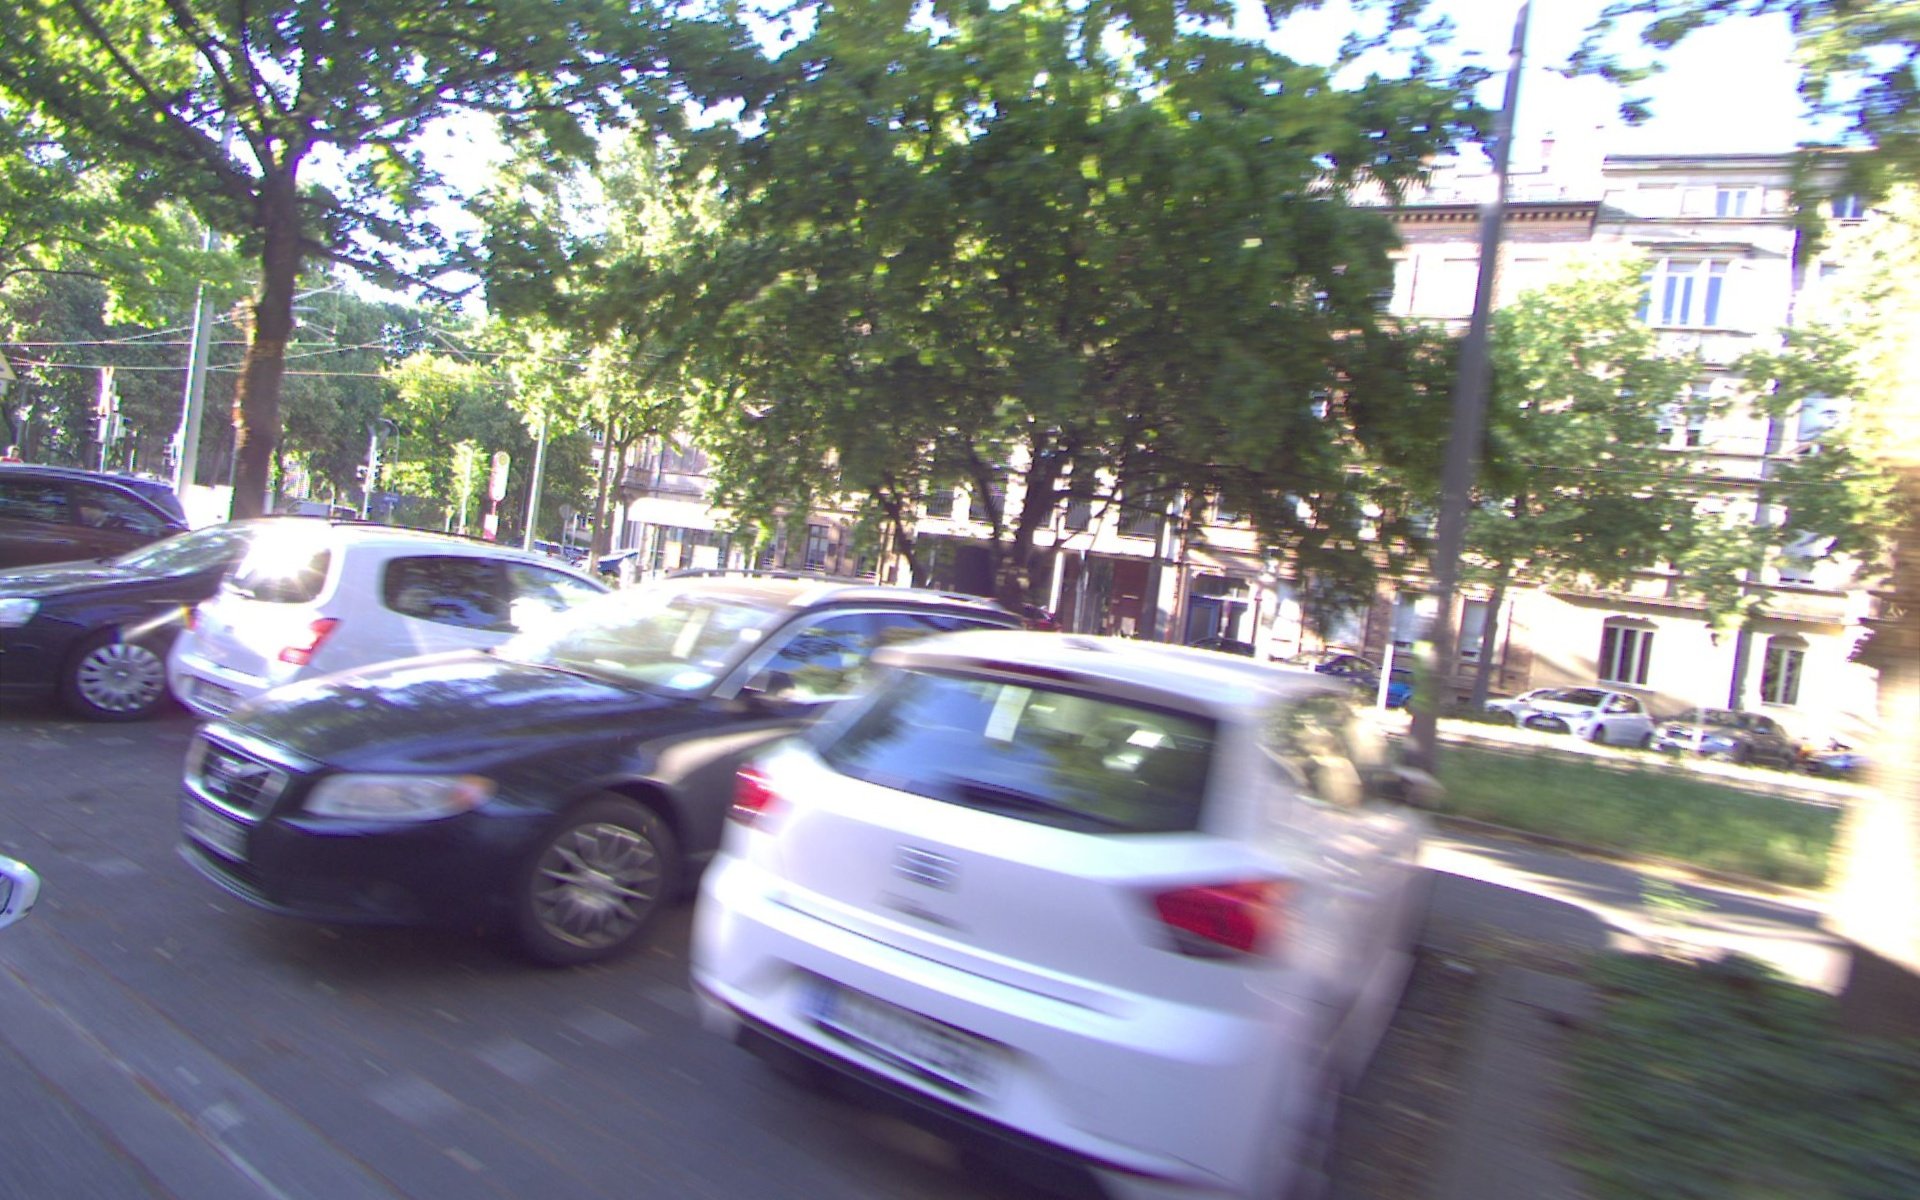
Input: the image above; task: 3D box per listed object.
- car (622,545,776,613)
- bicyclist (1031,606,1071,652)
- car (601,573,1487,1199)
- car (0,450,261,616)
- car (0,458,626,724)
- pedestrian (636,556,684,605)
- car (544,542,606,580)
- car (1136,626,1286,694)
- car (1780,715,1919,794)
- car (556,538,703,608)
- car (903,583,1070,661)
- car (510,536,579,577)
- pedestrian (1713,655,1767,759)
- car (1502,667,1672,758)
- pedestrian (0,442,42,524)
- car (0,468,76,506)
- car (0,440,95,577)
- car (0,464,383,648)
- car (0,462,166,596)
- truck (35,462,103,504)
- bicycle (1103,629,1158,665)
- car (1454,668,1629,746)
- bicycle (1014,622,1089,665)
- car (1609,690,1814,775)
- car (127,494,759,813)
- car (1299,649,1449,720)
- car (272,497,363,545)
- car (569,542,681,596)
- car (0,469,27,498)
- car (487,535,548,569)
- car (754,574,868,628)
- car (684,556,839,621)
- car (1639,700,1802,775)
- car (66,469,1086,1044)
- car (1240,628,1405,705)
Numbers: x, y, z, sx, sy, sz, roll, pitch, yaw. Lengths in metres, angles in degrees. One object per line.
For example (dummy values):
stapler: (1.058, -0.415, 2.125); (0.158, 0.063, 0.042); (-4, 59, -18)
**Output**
car: (-8.754, -0.691, 33.915); (4.514, 1.655, 1.909); (7, 1, -38)
bicyclist: (3.011, 0.951, 33.168); (0.961, 1.371, 0.779); (8, 1, 21)
car: (0.869, 0.886, 3.906); (1.656, 1.479, 3.991); (8, 1, 32)
car: (-11.388, -0.880, 12.078); (1.915, 1.711, 4.446); (7, -1, 26)
car: (-5.412, 0.023, 8.312); (1.968, 1.591, 4.704); (7, -1, 34)
pedestrian: (-8.759, -0.565, 29.390); (0.861, 1.288, 0.824); (8, 1, 24)
car: (-22.732, -2.273, 59.566); (1.800, 1.743, 4.541); (11, 0, -2)
car: (8.495, 1.990, 34.051); (4.509, 1.587, 1.999); (8, 1, 23)
car: (25.674, 4.373, 27.606); (4.335, 1.587, 1.999); (8, 1, 19)
car: (-11.473, -0.911, 35.082); (4.389, 1.707, 1.722); (9, -1, -40)
car: (0.800, 0.670, 30.163); (4.500, 1.743, 1.915); (7, 1, -28)
car: (-22.473, -2.309, 54.606); (1.889, 1.675, 4.185); (11, -1, -3)
pedestrian: (23.362, 3.192, 30.142); (0.687, 2.984, 0.920); (8, 1, 19)
car: (15.240, 2.751, 24.386); (4.241, 1.716, 1.792); (7, 1, -34)
pedestrian: (-24.532, -3.038, 25.909); (1.131, 1.942, 0.903); (8, 1, 32)
car: (-53.214, -6.496, 57.534); (3.804, 1.406, 1.719); (11, -4, -39)
car: (-15.763, -1.598, 14.510); (1.919, 1.938, 4.542); (7, -1, 34)
car: (-9.205, -0.475, 11.011); (1.919, 1.591, 4.542); (7, -1, 34)
car: (-13.594, -1.127, 13.194); (1.919, 1.591, 4.542); (7, -1, 34)
truck: (-63.819, -8.351, 72.025); (4.311, 2.381, 2.369); (8, 0, 32)
bicycle: (6.667, 1.824, 39.493); (0.677, 1.130, 2.073); (7, 1, -39)
car: (17.628, 3.208, 30.752); (4.163, 1.587, 1.999); (8, 1, 19)
bicycle: (3.019, 1.417, 33.126); (2.214, 1.099, 0.779); (8, 1, 21)
car: (21.581, 3.776, 29.113); (4.163, 1.587, 1.999); (8, 1, 19)
car: (-3.306, 0.359, 6.996); (1.691, 1.533, 3.401); (8, 0, 34)
car: (13.211, 2.667, 32.378); (4.163, 1.587, 1.999); (8, 1, 19)
car: (-36.016, -4.417, 56.390); (4.575, 2.028, 1.949); (8, 0, 24)
car: (-14.839, -1.360, 44.591); (4.417, 1.668, 1.876); (8, -2, 24)
car: (-58.768, -7.288, 60.351); (3.804, 1.436, 1.719); (11, -4, -39)
car: (-28.186, -3.052, 64.234); (1.800, 1.633, 4.289); (11, 0, -2)
car: (-5.982, 0.048, 40.401); (4.089, 1.506, 1.743); (8, -2, 24)
car: (-6.448, -0.368, 32.922); (4.514, 1.506, 1.909); (7, 1, -38)
car: (17.415, 3.151, 22.980); (4.245, 1.295, 1.790); (7, 1, -37)
car: (-1.338, 0.558, 5.358); (1.968, 1.591, 4.704); (7, -1, 34)
car: (9.498, 1.755, 26.262); (4.241, 1.506, 1.792); (7, 1, -34)
